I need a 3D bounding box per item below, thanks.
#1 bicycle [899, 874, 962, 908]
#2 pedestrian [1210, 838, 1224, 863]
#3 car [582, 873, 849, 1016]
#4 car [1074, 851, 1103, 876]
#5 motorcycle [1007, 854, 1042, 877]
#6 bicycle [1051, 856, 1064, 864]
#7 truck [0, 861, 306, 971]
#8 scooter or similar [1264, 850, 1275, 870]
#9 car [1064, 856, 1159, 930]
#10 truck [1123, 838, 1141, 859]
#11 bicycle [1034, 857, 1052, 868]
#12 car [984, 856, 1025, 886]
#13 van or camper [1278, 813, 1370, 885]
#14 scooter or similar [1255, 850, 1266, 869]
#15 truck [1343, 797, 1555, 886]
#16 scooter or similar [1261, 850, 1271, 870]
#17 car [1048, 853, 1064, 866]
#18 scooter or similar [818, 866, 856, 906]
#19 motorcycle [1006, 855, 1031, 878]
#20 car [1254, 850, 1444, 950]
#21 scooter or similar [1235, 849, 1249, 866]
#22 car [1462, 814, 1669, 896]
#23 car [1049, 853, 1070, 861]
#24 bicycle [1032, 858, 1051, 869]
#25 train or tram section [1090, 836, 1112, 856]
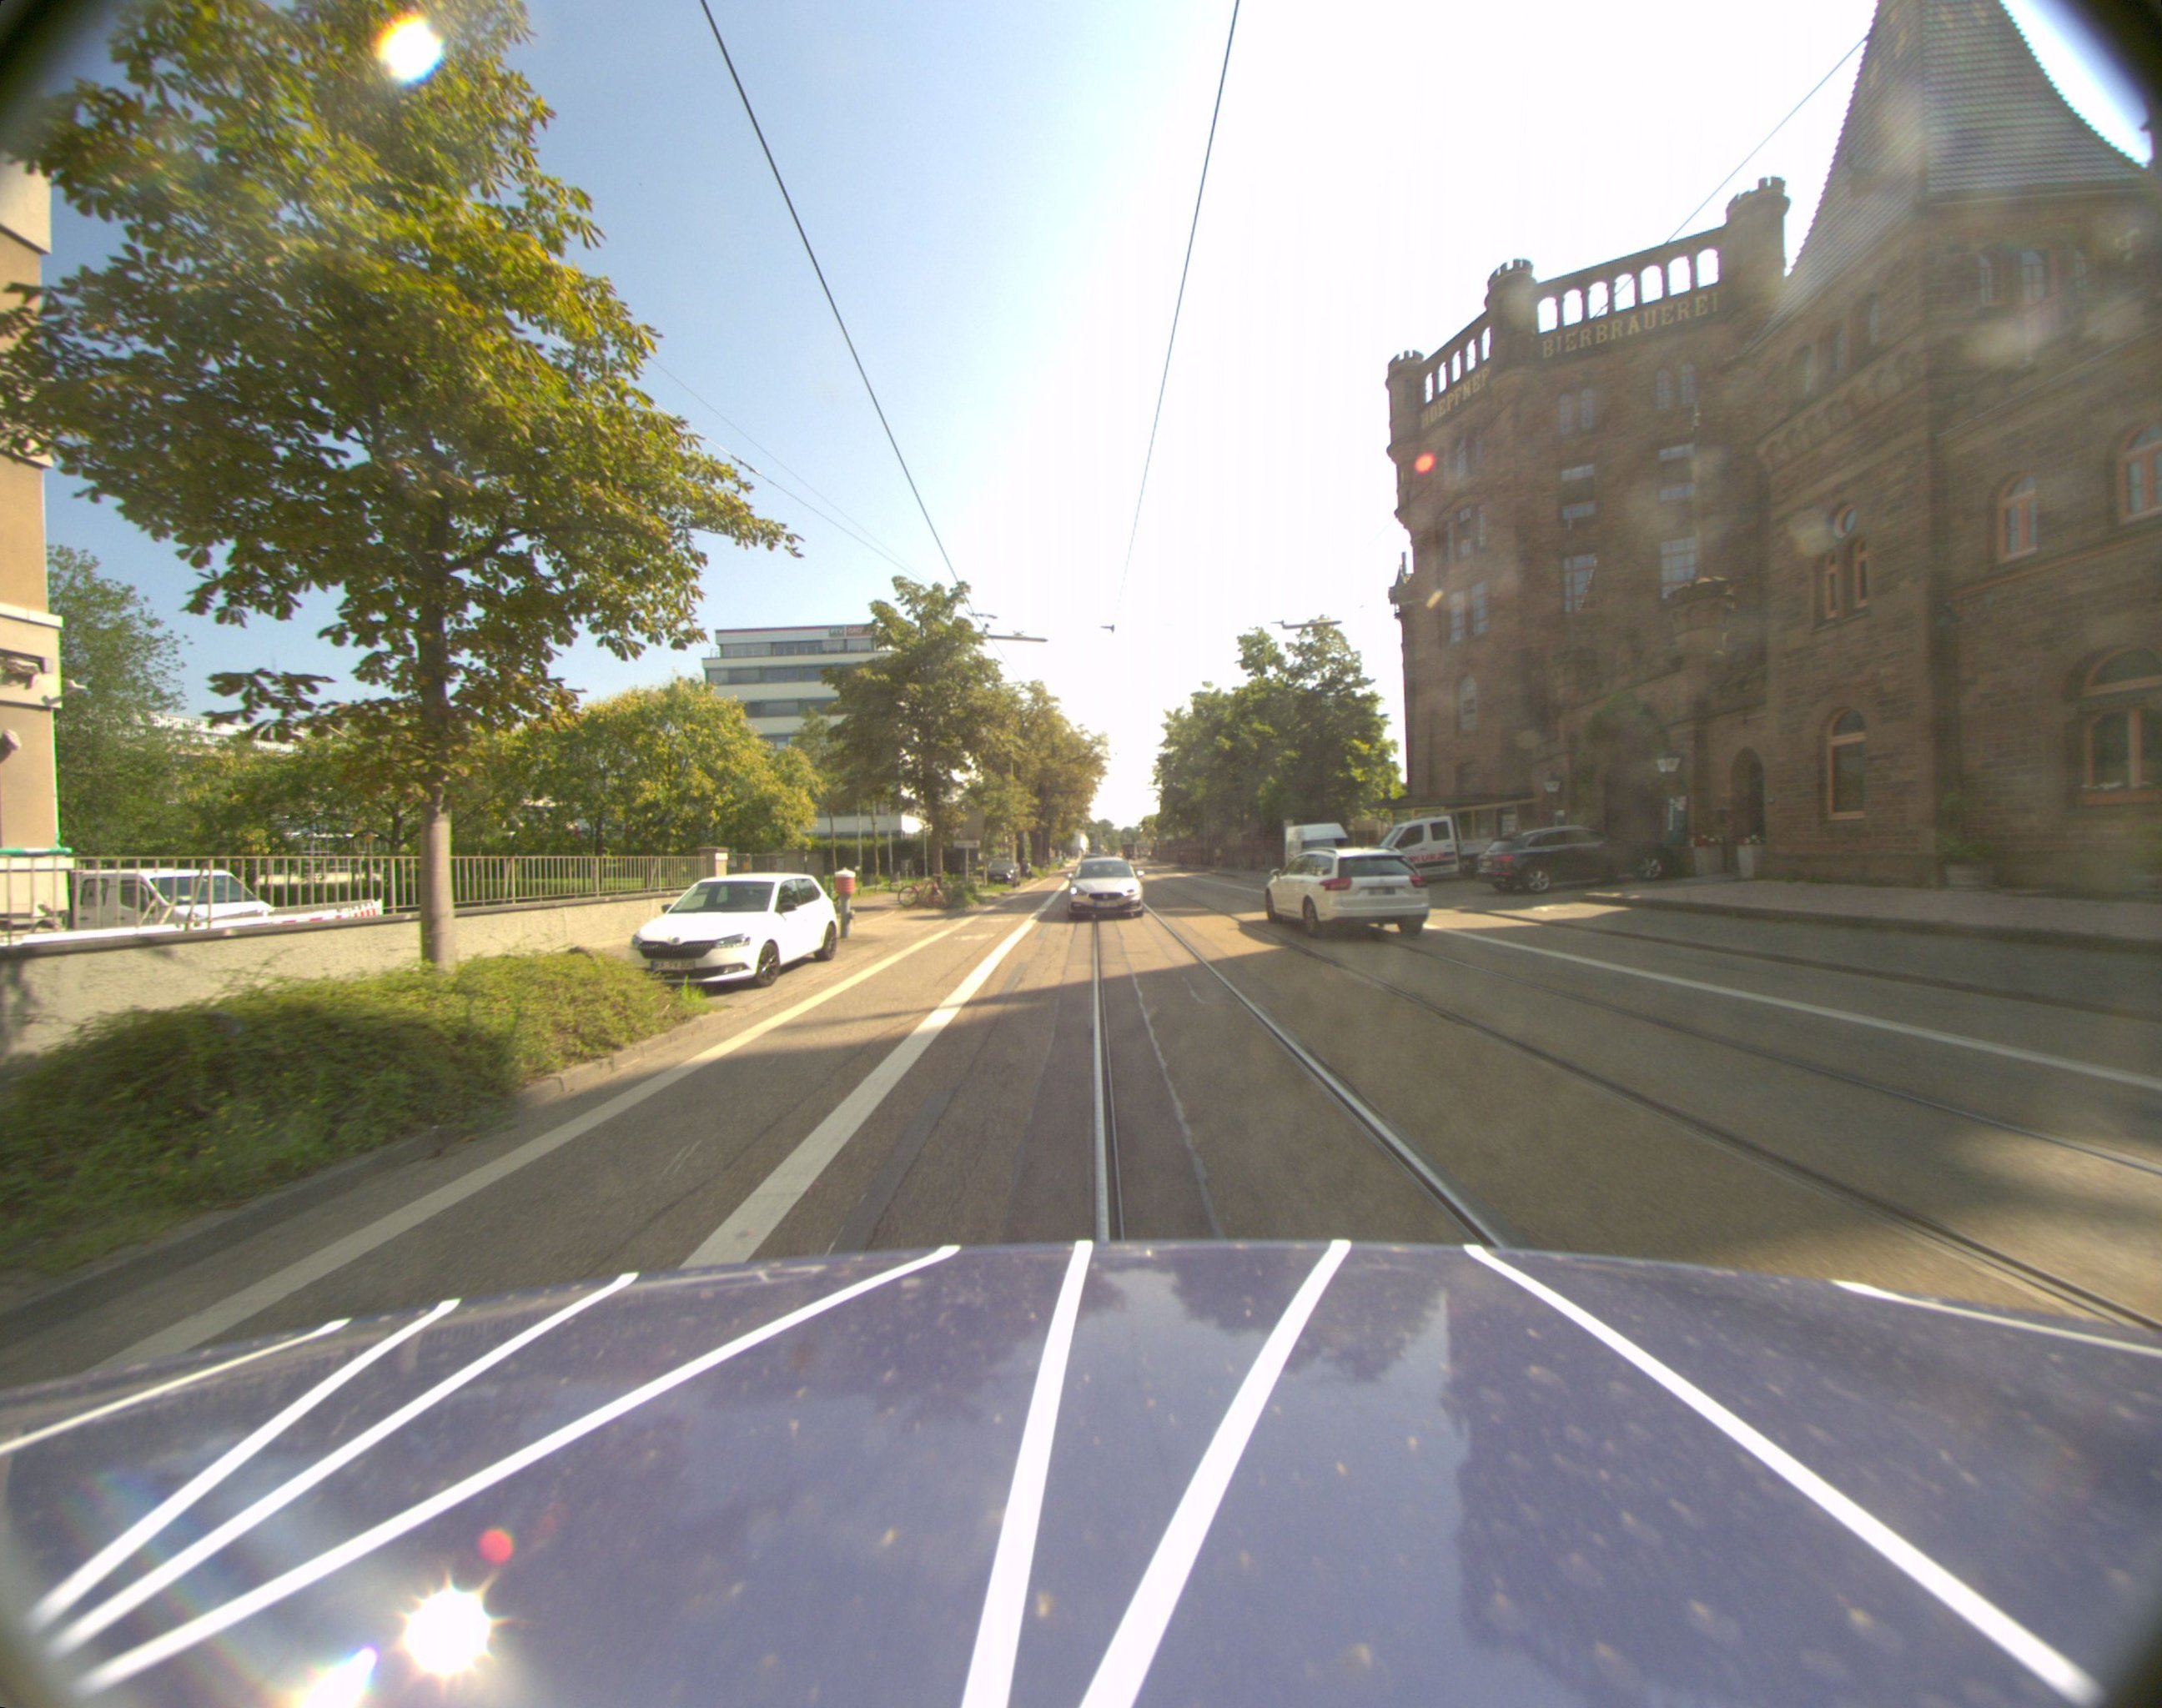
[{"bbox_3d":[-4.683,1.147,23.698,1.816,0.952,0.558,-2,1,1],"label":"bicycle"},{"bbox_3d":[11.096,-0.266,62.189,0.866,2.002,0.983,-2,1,-1],"label":"pedestrian"},{"bbox_3d":[-4.890,1.108,10.939,1.663,1.472,4.217,-1,1,2],"label":"car"},{"bbox_3d":[0.535,0.610,51.597,1.834,1.543,4.032,-2,0,1],"label":"car"},{"bbox_3d":[-3.903,0.800,52.473,2.448,1.507,0.854,-2,1,39],"label":"motorcycle"},{"bbox_3d":[-3.254,0.817,105.135,1.775,1.065,0.540,-1,1,0],"label":"bicycle"},{"bbox_3d":[-22.924,1.462,18.617,5.520,2.312,2.299,-2,1,3],"label":"truck"},{"bbox_3d":[11.375,0.360,45.760,0.340,1.172,1.180,-2,1,26],"label":"scooter or similar"},{"bbox_3d":[0.658,0.829,18.319,1.928,1.465,4.817,-2,0,1],"label":"car"},{"bbox_3d":[11.829,-1.247,174.983,3.171,4.427,16.847,-2,0,7],"label":"truck"},{"bbox_3d":[-3.749,0.883,75.430,1.775,1.043,0.540,-1,1,0],"label":"bicycle"},{"bbox_3d":[-4.134,0.900,41.811,1.760,1.507,4.609,-1,0,0],"label":"car"},{"bbox_3d":[10.127,-0.208,32.213,2.118,2.660,5.955,-2,0,3],"label":"van or camper"},{"bbox_3d":[11.346,0.350,48.068,0.340,1.172,1.180,-2,1,26],"label":"scooter or similar"},{"bbox_3d":[13.017,-0.396,27.303,6.334,2.523,2.132,-5,-1,6],"label":"truck"},{"bbox_3d":[11.413,0.353,46.894,0.340,1.172,1.180,-2,1,26],"label":"scooter or similar"},{"bbox_3d":[-3.072,0.683,93.667,1.760,1.453,4.274,-1,0,1],"label":"car"},{"bbox_3d":[-8.372,1.084,26.089,0.557,1.252,1.818,-2,0,4],"label":"scooter or similar"},{"bbox_3d":[-4.202,0.821,50.779,0.854,1.507,2.450,-3,1,-23],"label":"motorcycle"},{"bbox_3d":[4.609,0.680,13.941,1.851,1.483,4.867,1,0,2],"label":"car"},{"bbox_3d":[11.092,0.249,52.374,0.422,1.172,1.315,-3,1,-14],"label":"scooter or similar"},{"bbox_3d":[12.823,0.028,20.334,4.145,1.733,2.000,-5,0,2],"label":"car"},{"bbox_3d":[-4.867,0.686,170.600,4.552,1.506,1.960,-2,1,-4],"label":"car"},{"bbox_3d":[-3.776,0.897,72.950,1.775,1.043,0.540,-1,1,0],"label":"bicycle"},{"bbox_3d":[4.507,-1.680,163.420,4.111,3.711,24.380,-2,0,2],"label":"train or tram section"}]
